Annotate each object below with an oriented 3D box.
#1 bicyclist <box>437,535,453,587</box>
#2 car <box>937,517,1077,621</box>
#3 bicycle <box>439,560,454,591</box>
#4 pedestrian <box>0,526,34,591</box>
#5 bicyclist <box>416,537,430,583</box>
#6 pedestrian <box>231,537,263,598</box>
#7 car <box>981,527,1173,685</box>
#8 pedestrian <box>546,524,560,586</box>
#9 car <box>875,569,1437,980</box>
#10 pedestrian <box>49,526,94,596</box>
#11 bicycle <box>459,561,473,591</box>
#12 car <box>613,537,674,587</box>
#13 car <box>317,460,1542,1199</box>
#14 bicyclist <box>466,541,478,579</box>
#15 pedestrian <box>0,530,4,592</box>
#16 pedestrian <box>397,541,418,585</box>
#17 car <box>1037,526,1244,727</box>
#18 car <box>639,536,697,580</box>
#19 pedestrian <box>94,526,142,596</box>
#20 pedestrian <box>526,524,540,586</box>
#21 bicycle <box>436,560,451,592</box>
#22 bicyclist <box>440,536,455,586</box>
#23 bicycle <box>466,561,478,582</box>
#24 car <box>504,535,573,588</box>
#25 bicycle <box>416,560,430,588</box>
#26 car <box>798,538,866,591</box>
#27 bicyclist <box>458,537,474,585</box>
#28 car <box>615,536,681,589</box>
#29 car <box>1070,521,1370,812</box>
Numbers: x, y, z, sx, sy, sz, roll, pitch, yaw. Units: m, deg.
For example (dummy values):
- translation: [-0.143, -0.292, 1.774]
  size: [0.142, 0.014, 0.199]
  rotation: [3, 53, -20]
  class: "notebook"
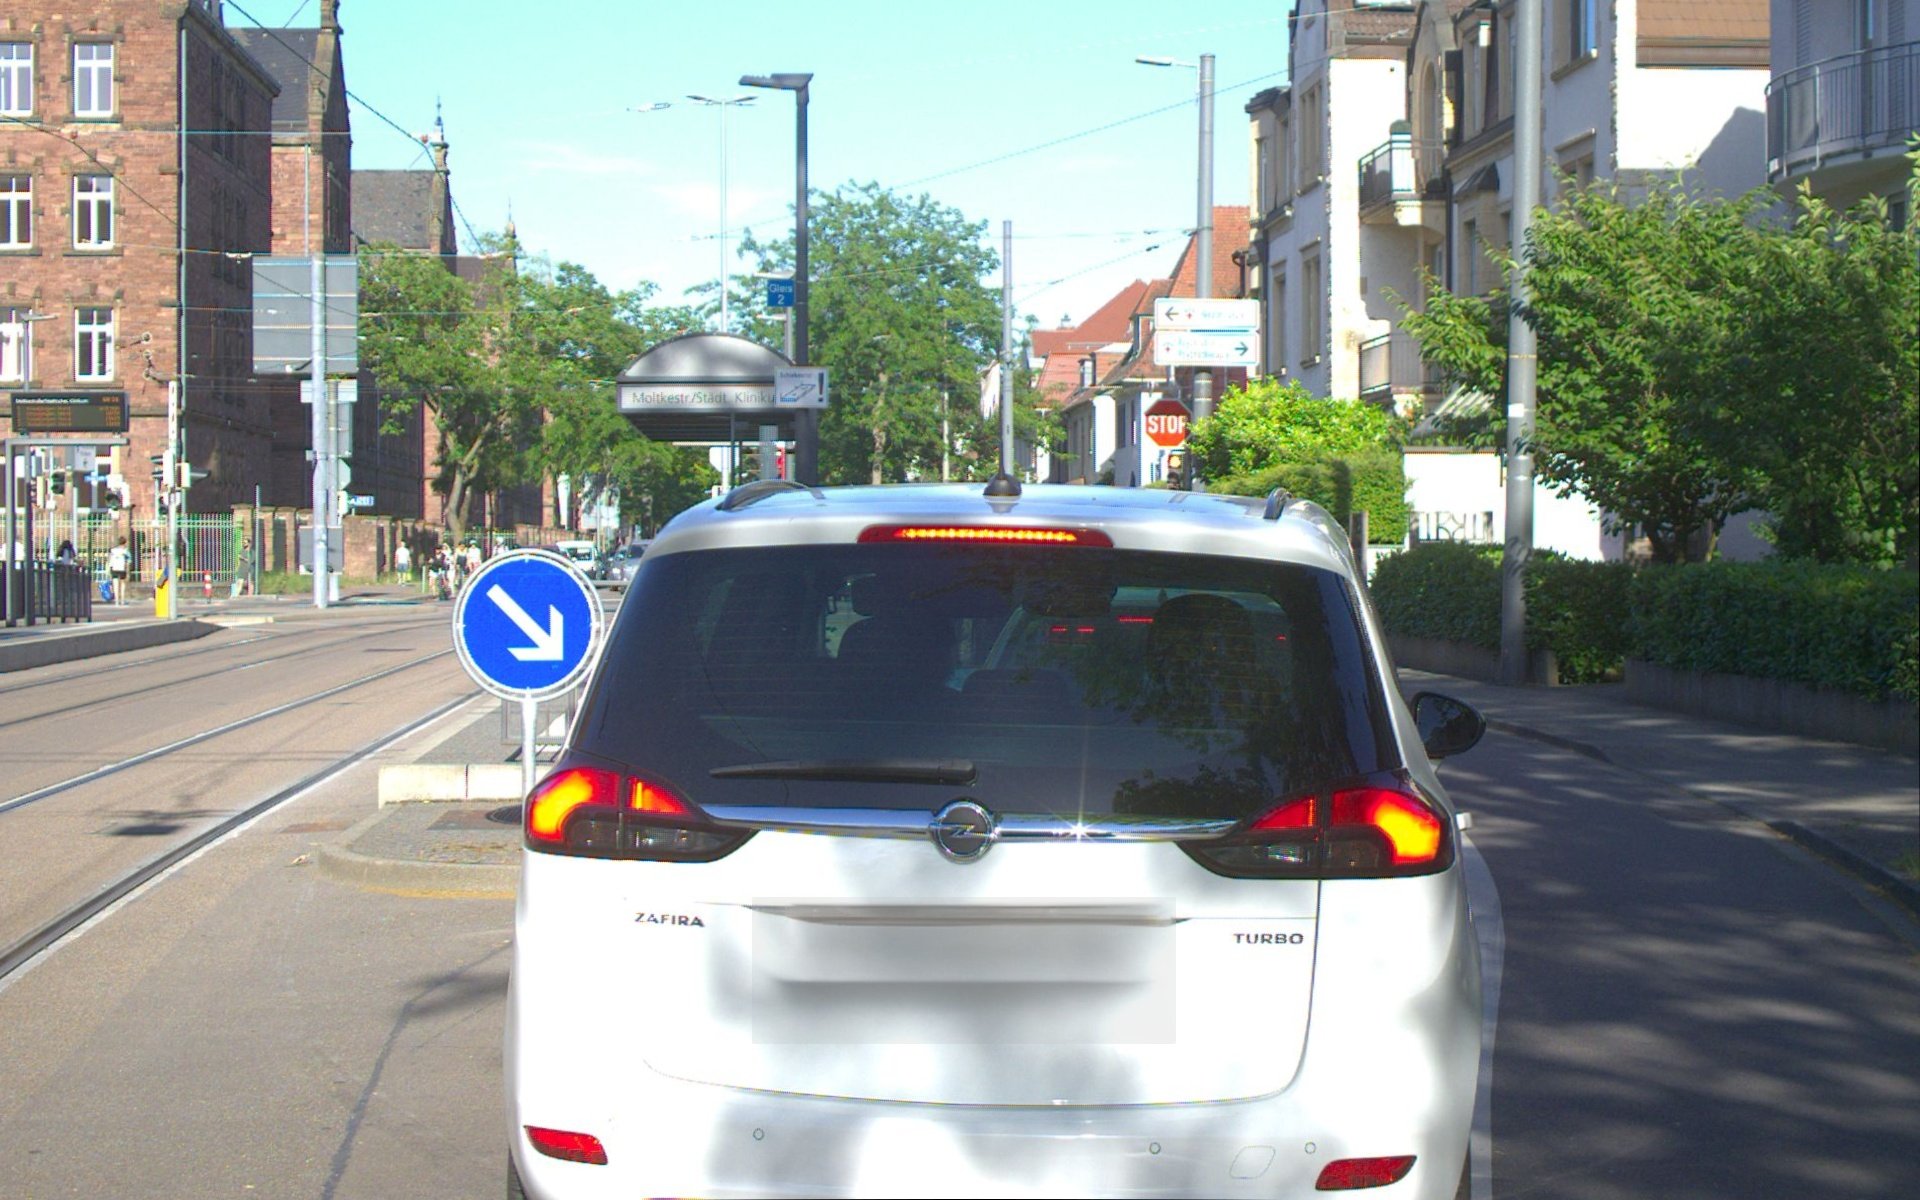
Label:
- translation: [-15.471, -1.181, 103.287]
  size: [0.444, 1.548, 0.743]
  rotation: [0, 1, -4]
  class: "bicyclist"
- translation: [0.667, -0.487, 51.762]
  size: [1.993, 1.497, 4.000]
  rotation: [0, 1, -1]
  class: "car"
- translation: [-15.925, -0.754, 106.619]
  size: [0.344, 0.946, 0.997]
  rotation: [1, 0, -4]
  class: "bicycle"
- translation: [-23.199, -1.011, 84.241]
  size: [0.802, 1.583, 0.935]
  rotation: [1, 0, -3]
  class: "pedestrian"
- translation: [-17.977, -1.333, 115.100]
  size: [0.444, 1.548, 0.496]
  rotation: [0, 1, -4]
  class: "bicyclist"
- translation: [-20.063, -0.905, 96.772]
  size: [0.734, 1.708, 0.706]
  rotation: [1, 0, -1]
  class: "pedestrian"
- translation: [1.175, 0.026, 36.182]
  size: [1.830, 1.574, 4.010]
  rotation: [0, 1, -1]
  class: "car"
- translation: [-13.295, -1.468, 112.255]
  size: [0.444, 2.007, 0.496]
  rotation: [0, 1, -4]
  class: "pedestrian"
- translation: [0.743, 0.589, 13.985]
  size: [1.953, 1.392, 4.000]
  rotation: [0, 1, 2]
  class: "car"
- translation: [-21.694, -0.959, 83.957]
  size: [0.843, 1.686, 1.029]
  rotation: [1, 0, -1]
  class: "pedestrian"
- translation: [-15.694, -0.776, 109.168]
  size: [0.344, 0.946, 0.997]
  rotation: [1, 0, -4]
  class: "bicycle"
- translation: [-10.529, -1.268, 114.420]
  size: [1.993, 1.623, 4.001]
  rotation: [0, 1, -5]
  class: "car"
- translation: [0.134, 0.582, 7.605]
  size: [1.994, 1.639, 3.992]
  rotation: [1, 1, 6]
  class: "car"
- translation: [-16.819, -1.376, 118.497]
  size: [0.344, 1.315, 0.405]
  rotation: [1, 0, -4]
  class: "bicyclist"
- translation: [-25.217, -1.018, 88.957]
  size: [0.802, 1.583, 0.935]
  rotation: [1, 0, -22]
  class: "pedestrian"
- translation: [-21.373, -1.423, 132.934]
  size: [0.734, 1.708, 0.754]
  rotation: [1, 0, -6]
  class: "pedestrian"
- translation: [1.492, 0.179, 29.258]
  size: [1.637, 1.595, 3.854]
  rotation: [0, 1, 2]
  class: "car"
- translation: [-11.075, -1.612, 130.657]
  size: [1.993, 1.623, 4.001]
  rotation: [0, 1, -2]
  class: "car"
- translation: [-20.392, -0.942, 83.312]
  size: [0.895, 1.678, 1.029]
  rotation: [1, 0, -1]
  class: "pedestrian"
- translation: [-13.902, -1.474, 111.950]
  size: [0.444, 2.007, 0.496]
  rotation: [0, 1, -4]
  class: "pedestrian"
- translation: [-15.479, -0.712, 103.086]
  size: [0.344, 0.946, 1.160]
  rotation: [1, 0, -4]
  class: "bicycle"
- translation: [-15.889, -1.218, 106.569]
  size: [0.444, 1.548, 0.496]
  rotation: [0, 1, -4]
  class: "bicyclist"
- translation: [-16.822, -0.980, 118.505]
  size: [0.344, 0.722, 0.997]
  rotation: [1, 1, -4]
  class: "bicycle"
- translation: [-13.112, -1.222, 107.090]
  size: [1.993, 1.623, 4.001]
  rotation: [0, 1, -5]
  class: "car"
- translation: [-17.982, -0.867, 115.143]
  size: [0.344, 0.946, 0.997]
  rotation: [1, 0, -4]
  class: "bicycle"
- translation: [-3.981, -1.119, 106.438]
  size: [1.993, 1.623, 4.001]
  rotation: [0, 1, -4]
  class: "car"
- translation: [-15.684, -1.241, 109.154]
  size: [0.444, 1.548, 0.496]
  rotation: [0, 1, -4]
  class: "bicyclist"
- translation: [-9.732, -1.186, 107.313]
  size: [1.993, 1.623, 4.001]
  rotation: [0, 1, -5]
  class: "car"
- translation: [1.491, 0.331, 20.830]
  size: [1.637, 1.595, 3.854]
  rotation: [0, 1, 2]
  class: "car"
